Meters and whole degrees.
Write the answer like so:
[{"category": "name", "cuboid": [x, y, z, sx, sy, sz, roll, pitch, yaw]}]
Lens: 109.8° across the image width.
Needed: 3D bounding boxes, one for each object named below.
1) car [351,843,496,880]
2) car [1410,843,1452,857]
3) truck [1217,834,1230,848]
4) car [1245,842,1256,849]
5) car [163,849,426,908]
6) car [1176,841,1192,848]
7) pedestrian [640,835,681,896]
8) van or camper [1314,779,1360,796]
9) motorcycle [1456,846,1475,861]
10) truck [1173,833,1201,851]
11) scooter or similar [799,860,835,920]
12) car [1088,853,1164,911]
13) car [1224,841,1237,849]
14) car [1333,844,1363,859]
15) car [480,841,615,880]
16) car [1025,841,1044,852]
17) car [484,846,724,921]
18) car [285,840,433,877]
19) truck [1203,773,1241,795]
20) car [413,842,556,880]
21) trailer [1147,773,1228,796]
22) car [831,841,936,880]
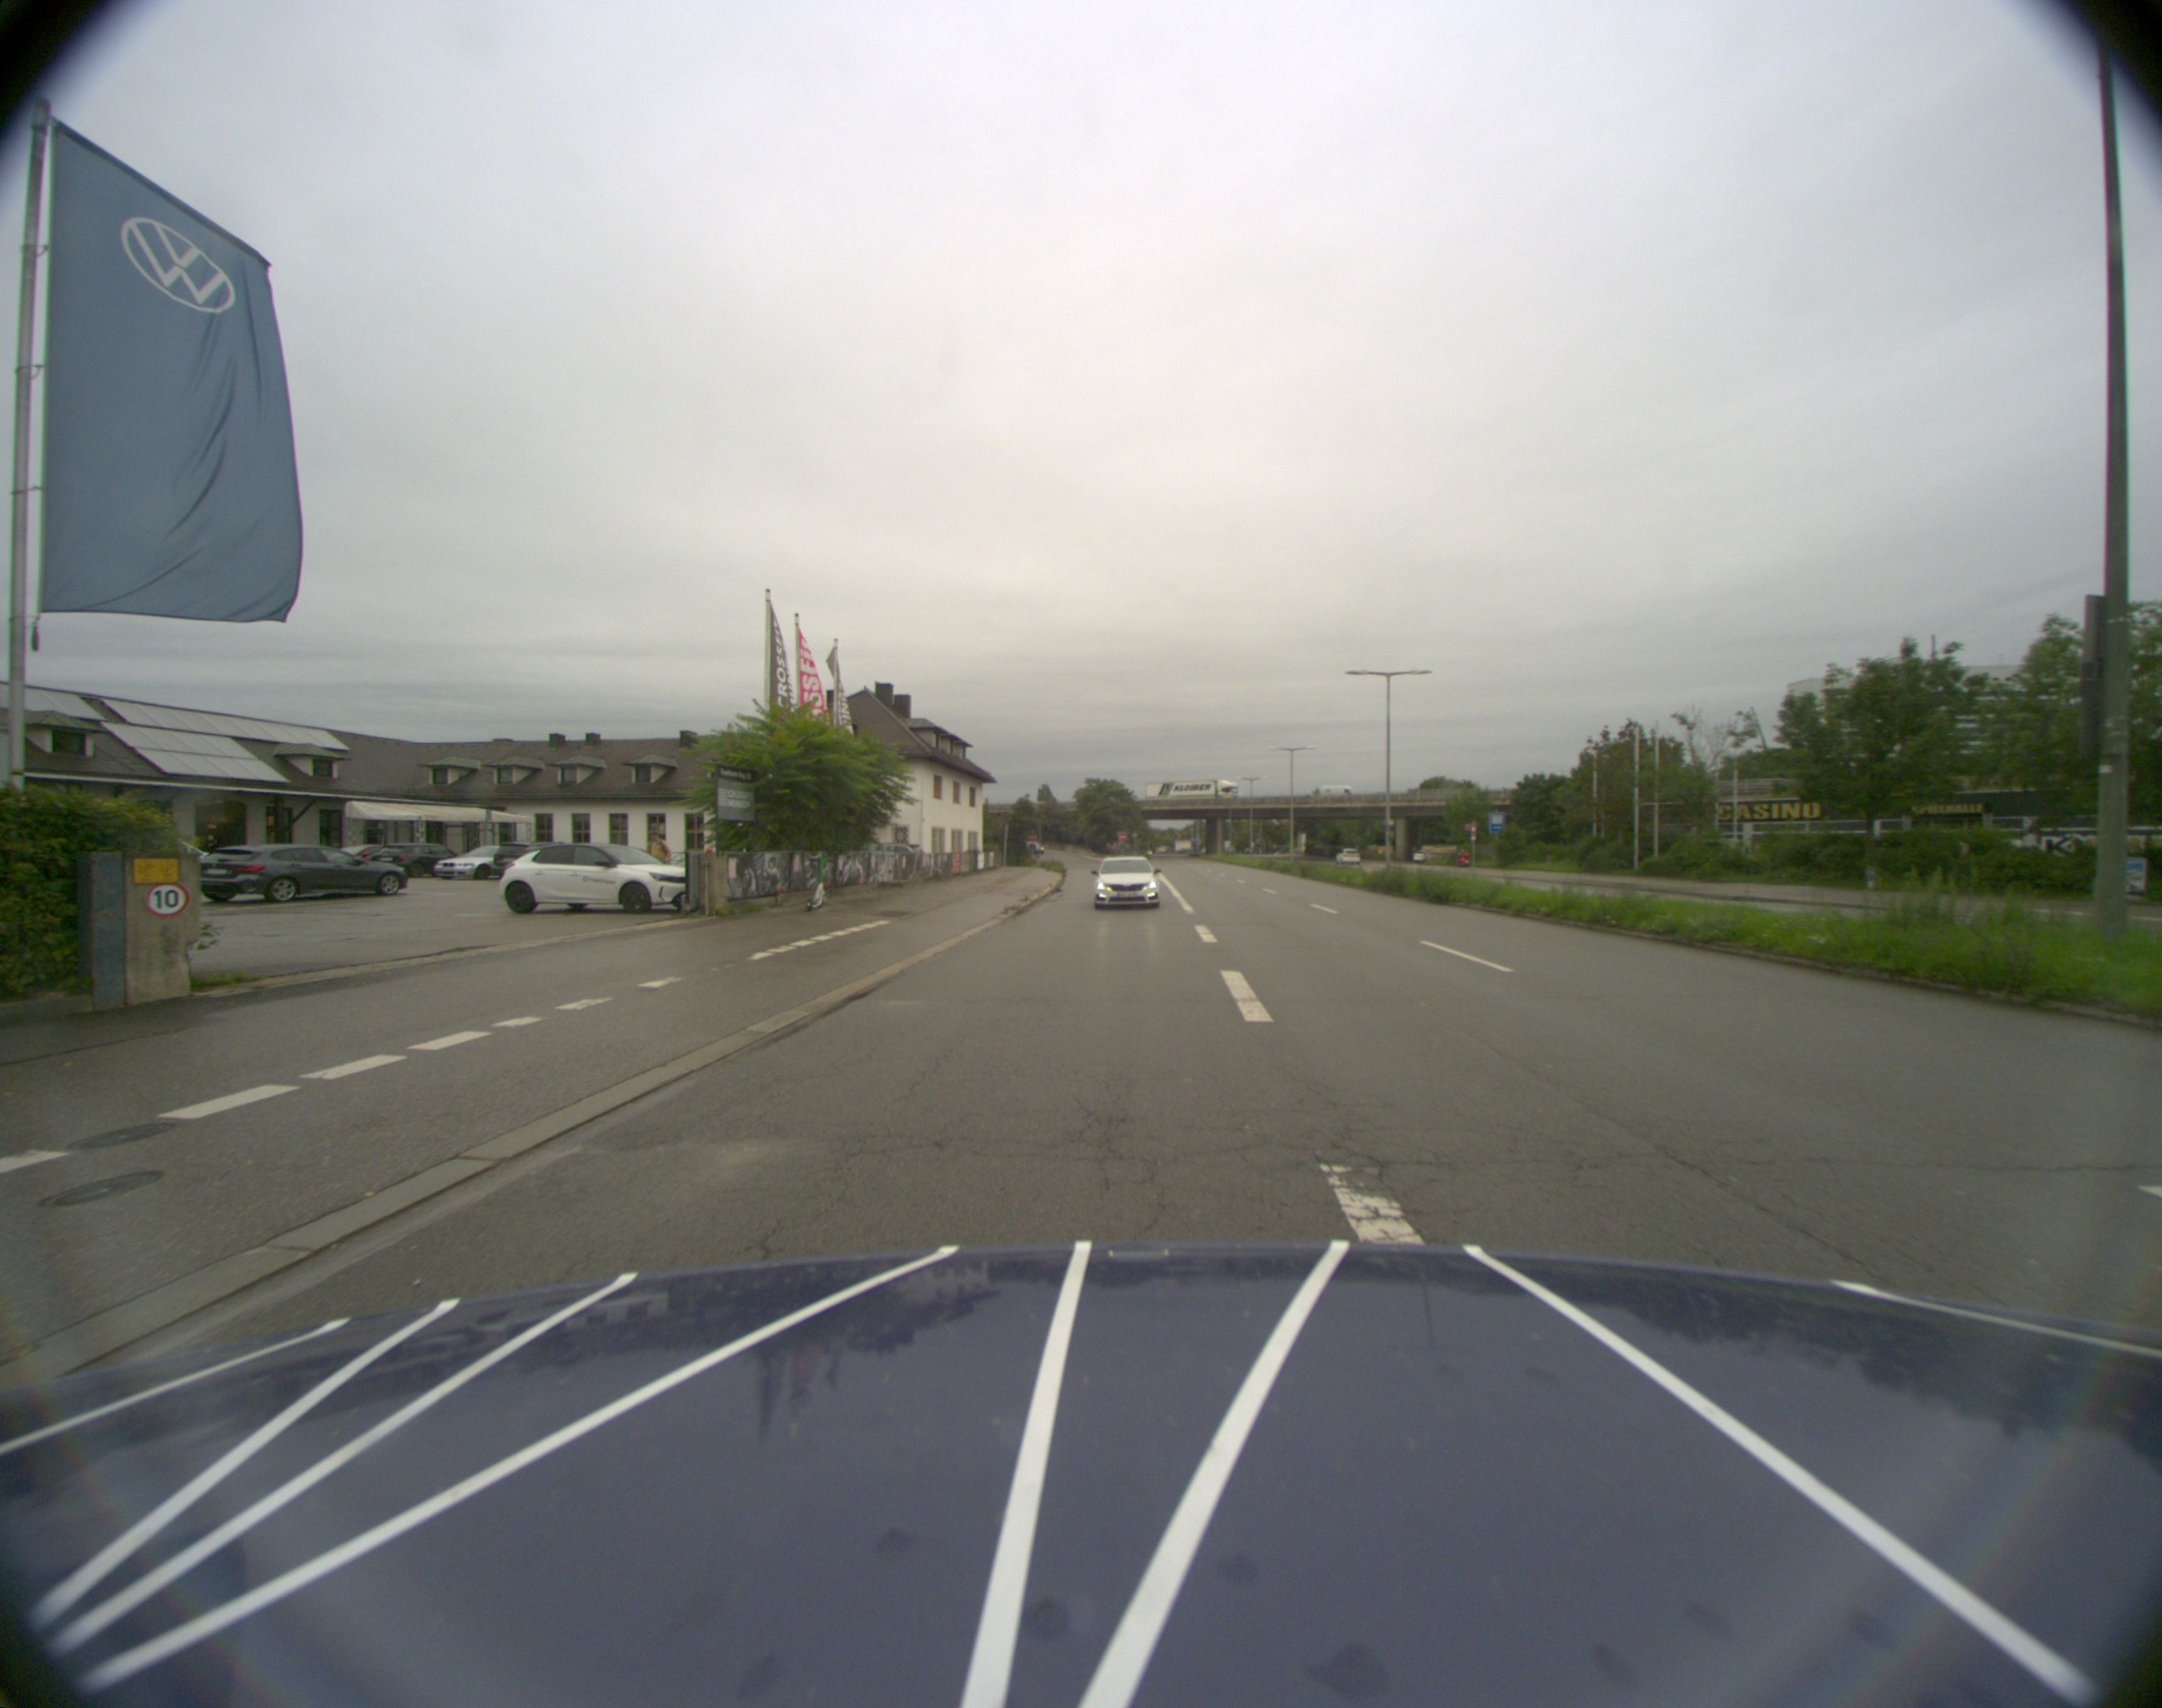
[{"category": "car", "cuboid": [-27.902, 0.283, 32.476, 1.924, 1.460, 4.549, 0, 1, 6]}, {"category": "car", "cuboid": [39.839, -0.487, 86.513, 5.128, 1.563, 1.994, 0, 2, -35]}, {"category": "truck", "cuboid": [32.605, -2.912, 173.929, 2.257, 2.960, 7.235, 3, 0, 5]}, {"category": "car", "cuboid": [38.370, -1.969, 172.157, 1.973, 1.389, 4.818, 1, 2, 7]}, {"category": "car", "cuboid": [-20.574, 0.563, 20.247, 1.924, 1.379, 4.621, 0, 1, 6]}, {"category": "car", "cuboid": [27.290, -2.518, 200.974, 1.978, 1.574, 4.581, 1, 0, -27]}, {"category": "pedestrian", "cuboid": [-13.164, 0.356, 23.800, 0.735, 1.891, 0.932, 0, 1, 1]}, {"category": "van or camper", "cuboid": [35.458, -9.196, 105.219, 5.490, 2.002, 2.336, 2, 3, 44]}, {"category": "motorcycle", "cuboid": [31.389, -0.029, 62.048, 0.534, 1.169, 2.196, 0, 1, 5]}, {"category": "truck", "cuboid": [29.017, -3.379, 208.662, 2.803, 4.566, 9.577, 1, 2, -26]}, {"category": "scooter or similar", "cuboid": [-5.919, 0.772, 17.097, 0.398, 1.216, 1.638, 2, 2, -7]}, {"category": "car", "cuboid": [1.366, 0.721, 21.898, 1.914, 1.439, 4.558, -2, 0, 5]}, {"category": "car", "cuboid": [31.276, -1.848, 159.229, 1.973, 1.574, 4.591, 3, 2, 3]}, {"category": "car", "cuboid": [27.857, -0.286, 79.368, 1.997, 1.563, 4.575, 1, 1, 6]}, {"category": "car", "cuboid": [-21.948, 0.234, 31.519, 1.924, 1.503, 4.541, 0, 1, 9]}, {"category": "car", "cuboid": [-5.891, -0.928, 95.961, 1.711, 1.281, 3.995, 0, 1, -13]}, {"category": "car", "cuboid": [-9.955, 0.566, 16.040, 4.022, 1.452, 1.794, 0, 1, 6]}, {"category": "car", "cuboid": [-30.913, 0.163, 32.750, 1.924, 1.460, 4.406, 0, 1, 6]}, {"category": "truck", "cuboid": [21.923, -10.769, 117.990, 5.177, 3.229, 2.602, 4, 5, 44]}, {"category": "car", "cuboid": [-24.778, 0.237, 31.821, 1.924, 1.460, 4.633, 0, 1, 9]}, {"category": "trailer", "cuboid": [16.925, -11.159, 122.796, 14.014, 3.280, 2.671, 4, 4, 44]}, {"category": "car", "cuboid": [-8.802, 0.269, 34.059, 4.105, 1.716, 1.927, 0, 1, 4]}]
